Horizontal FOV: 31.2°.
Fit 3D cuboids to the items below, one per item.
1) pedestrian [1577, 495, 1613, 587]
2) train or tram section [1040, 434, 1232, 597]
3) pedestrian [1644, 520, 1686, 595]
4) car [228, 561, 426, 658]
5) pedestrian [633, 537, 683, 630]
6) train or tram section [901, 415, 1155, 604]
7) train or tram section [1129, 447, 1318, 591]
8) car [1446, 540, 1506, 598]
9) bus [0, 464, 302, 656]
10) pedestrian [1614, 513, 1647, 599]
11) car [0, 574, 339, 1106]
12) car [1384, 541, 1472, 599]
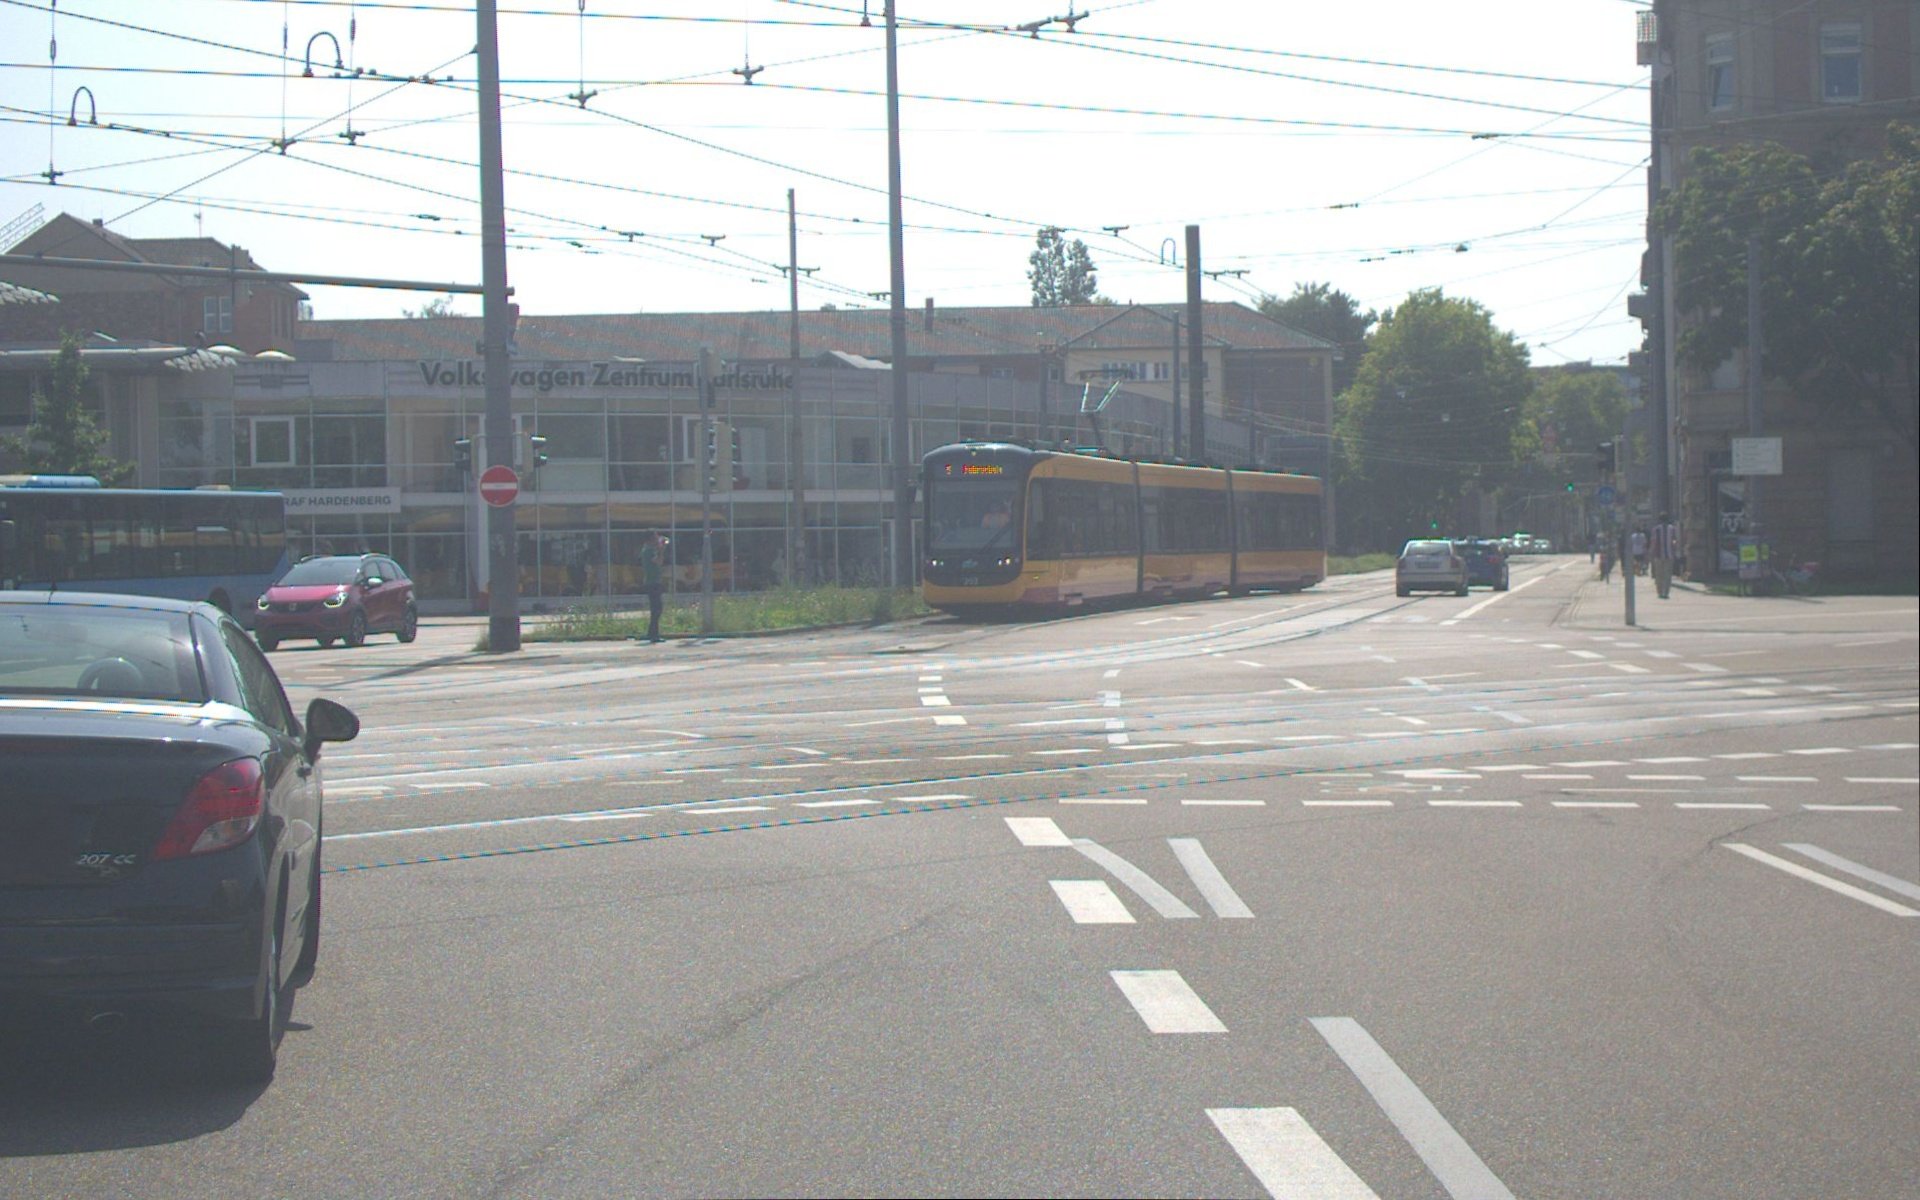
[{"bbox_3d":[20.940,-1.948,113.391,0.983,3.007,0.974,-1,1,2],"label":"pedestrian"},{"bbox_3d":[4.217,-1.919,79.893,2.590,3.504,9.652,-1,1,14],"label":"train or tram section"},{"bbox_3d":[15.190,-0.927,74.128,0.699,1.597,0.573,-1,1,-11],"label":"pedestrian"},{"bbox_3d":[-10.660,0.136,58.182,1.751,1.546,3.997,-1,1,14],"label":"car"},{"bbox_3d":[-4.730,-0.264,53.871,0.676,1.438,0.366,-1,1,-21],"label":"pedestrian"},{"bbox_3d":[1.567,-1.781,69.919,2.590,3.504,10.891,-1,1,15],"label":"train or tram section"},{"bbox_3d":[7.125,-2.097,90.871,2.590,3.504,12.964,-1,1,15],"label":"train or tram section"},{"bbox_3d":[14.698,-0.902,98.075,1.637,1.612,3.999,-1,1,8],"label":"car"},{"bbox_3d":[-15.378,-0.720,61.042,2.563,3.072,12.016,-1,1,13],"label":"bus"},{"bbox_3d":[23.688,-1.543,121.476,0.983,3.007,0.974,-1,1,3],"label":"pedestrian"},{"bbox_3d":[-2.986,0.624,10.978,1.765,1.383,3.782,1,1,-7],"label":"car"},{"bbox_3d":[12.142,-0.789,88.982,1.771,1.411,4.186,-1,1,14],"label":"car"}]
